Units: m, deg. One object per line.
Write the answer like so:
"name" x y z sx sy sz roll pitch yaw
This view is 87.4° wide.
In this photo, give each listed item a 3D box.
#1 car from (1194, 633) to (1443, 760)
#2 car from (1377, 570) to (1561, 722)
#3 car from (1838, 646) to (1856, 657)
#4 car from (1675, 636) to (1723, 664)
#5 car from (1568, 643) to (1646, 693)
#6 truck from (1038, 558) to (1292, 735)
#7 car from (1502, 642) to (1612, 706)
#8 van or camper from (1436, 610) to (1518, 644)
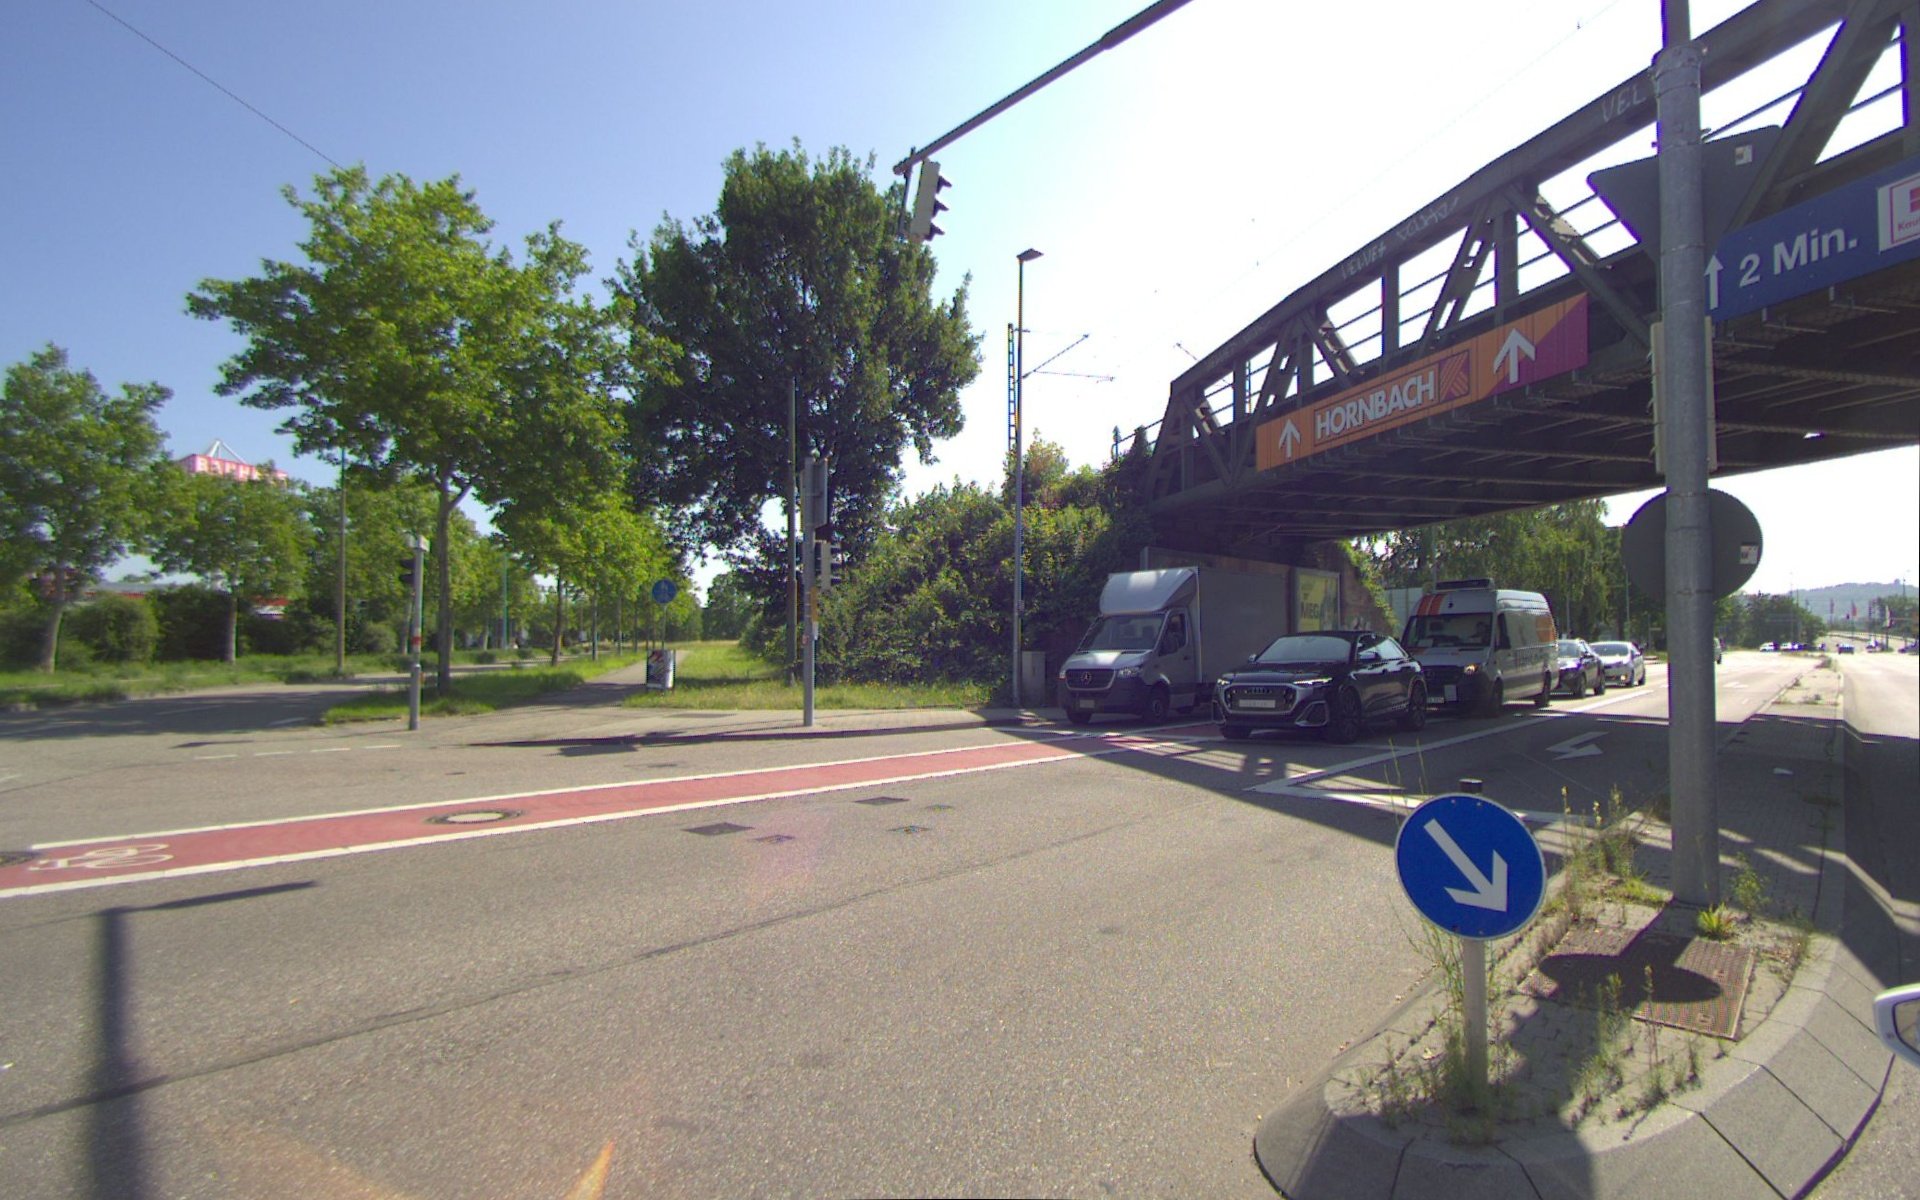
"car" 5.843 1.399 15.998 1.972 1.703 4.922 -2 -3 43
"car" 11.356 1.036 22.049 1.971 2.841 6.905 -5 -5 40
"car" 135.839 7.871 153.844 1.972 1.706 3.978 -3 -4 42
"car" 55.711 3.763 75.665 5.310 2.040 1.975 2 -4 -44
"car" 21.731 2.247 33.693 1.624 1.514 3.809 -4 -3 41
"truck" 4.575 0.960 21.178 2.312 3.129 7.040 -2 -3 38
"car" 16.410 1.988 27.537 1.749 1.514 4.154 -4 -3 42
"van or camper" 40.077 2.047 77.946 5.315 2.504 1.990 1 0 41
